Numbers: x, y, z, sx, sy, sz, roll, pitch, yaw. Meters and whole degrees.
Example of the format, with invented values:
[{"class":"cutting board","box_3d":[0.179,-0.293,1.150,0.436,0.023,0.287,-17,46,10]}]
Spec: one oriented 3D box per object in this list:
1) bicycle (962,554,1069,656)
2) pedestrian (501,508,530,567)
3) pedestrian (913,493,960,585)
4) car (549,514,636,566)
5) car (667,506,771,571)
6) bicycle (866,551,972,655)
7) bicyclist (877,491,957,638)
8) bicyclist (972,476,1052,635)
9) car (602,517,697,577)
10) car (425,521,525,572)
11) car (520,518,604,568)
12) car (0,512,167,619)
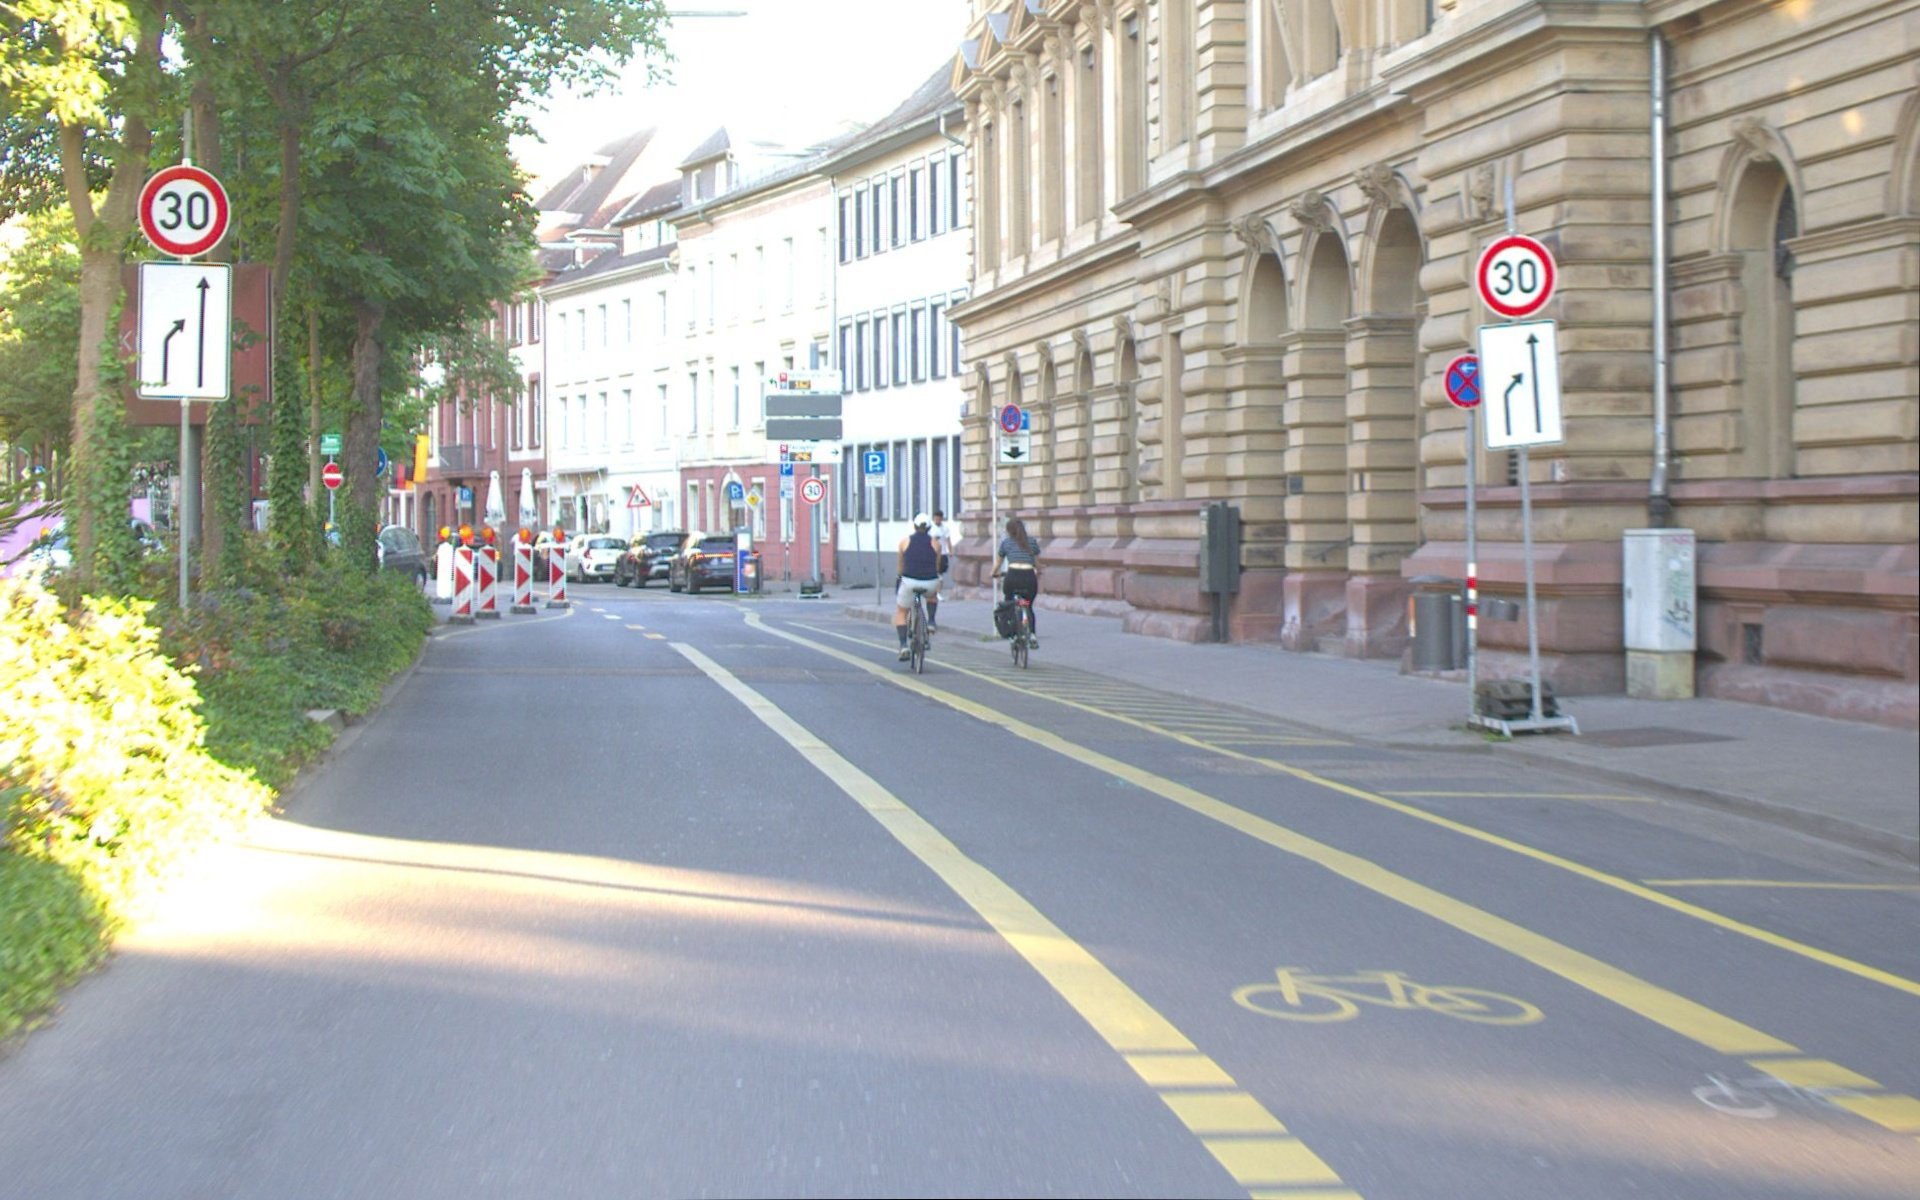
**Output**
[{"class":"bicycle","box_3d":[0.605,0.041,38.596,0.652,1.067,2.259,2,1,-12]},{"class":"pedestrian","box_3d":[-14.202,-2.002,109.791,0.831,1.838,0.958,1,2,-3]},{"class":"pedestrian","box_3d":[-0.465,-1.201,67.272,0.816,1.759,1.038,1,2,-3]},{"class":"car","box_3d":[-11.330,-1.860,105.859,1.812,1.554,3.866,0,1,-20]},{"class":"car","box_3d":[-6.333,-1.622,90.115,1.812,1.676,3.921,0,1,-18]},{"class":"bicycle","box_3d":[-0.460,0.024,37.301,0.669,1.067,1.902,1,1,-15]},{"class":"bicyclist","box_3d":[-0.472,-0.386,37.375,0.668,1.560,0.699,2,1,-15]},{"class":"bicyclist","box_3d":[0.582,-0.512,38.758,0.649,1.754,0.865,2,1,-12]},{"class":"car","box_3d":[-8.862,-1.521,97.904,1.812,1.678,4.001,0,1,-18]},{"class":"car","box_3d":[-15.181,-1.687,107.491,1.812,1.554,3.865,0,1,-30]},{"class":"car","box_3d":[-12.760,-1.840,110.064,1.812,1.554,3.866,0,1,-20]},{"class":"car","box_3d":[-14.646,-0.607,57.510,1.842,1.668,4.557,-1,2,-3]}]
